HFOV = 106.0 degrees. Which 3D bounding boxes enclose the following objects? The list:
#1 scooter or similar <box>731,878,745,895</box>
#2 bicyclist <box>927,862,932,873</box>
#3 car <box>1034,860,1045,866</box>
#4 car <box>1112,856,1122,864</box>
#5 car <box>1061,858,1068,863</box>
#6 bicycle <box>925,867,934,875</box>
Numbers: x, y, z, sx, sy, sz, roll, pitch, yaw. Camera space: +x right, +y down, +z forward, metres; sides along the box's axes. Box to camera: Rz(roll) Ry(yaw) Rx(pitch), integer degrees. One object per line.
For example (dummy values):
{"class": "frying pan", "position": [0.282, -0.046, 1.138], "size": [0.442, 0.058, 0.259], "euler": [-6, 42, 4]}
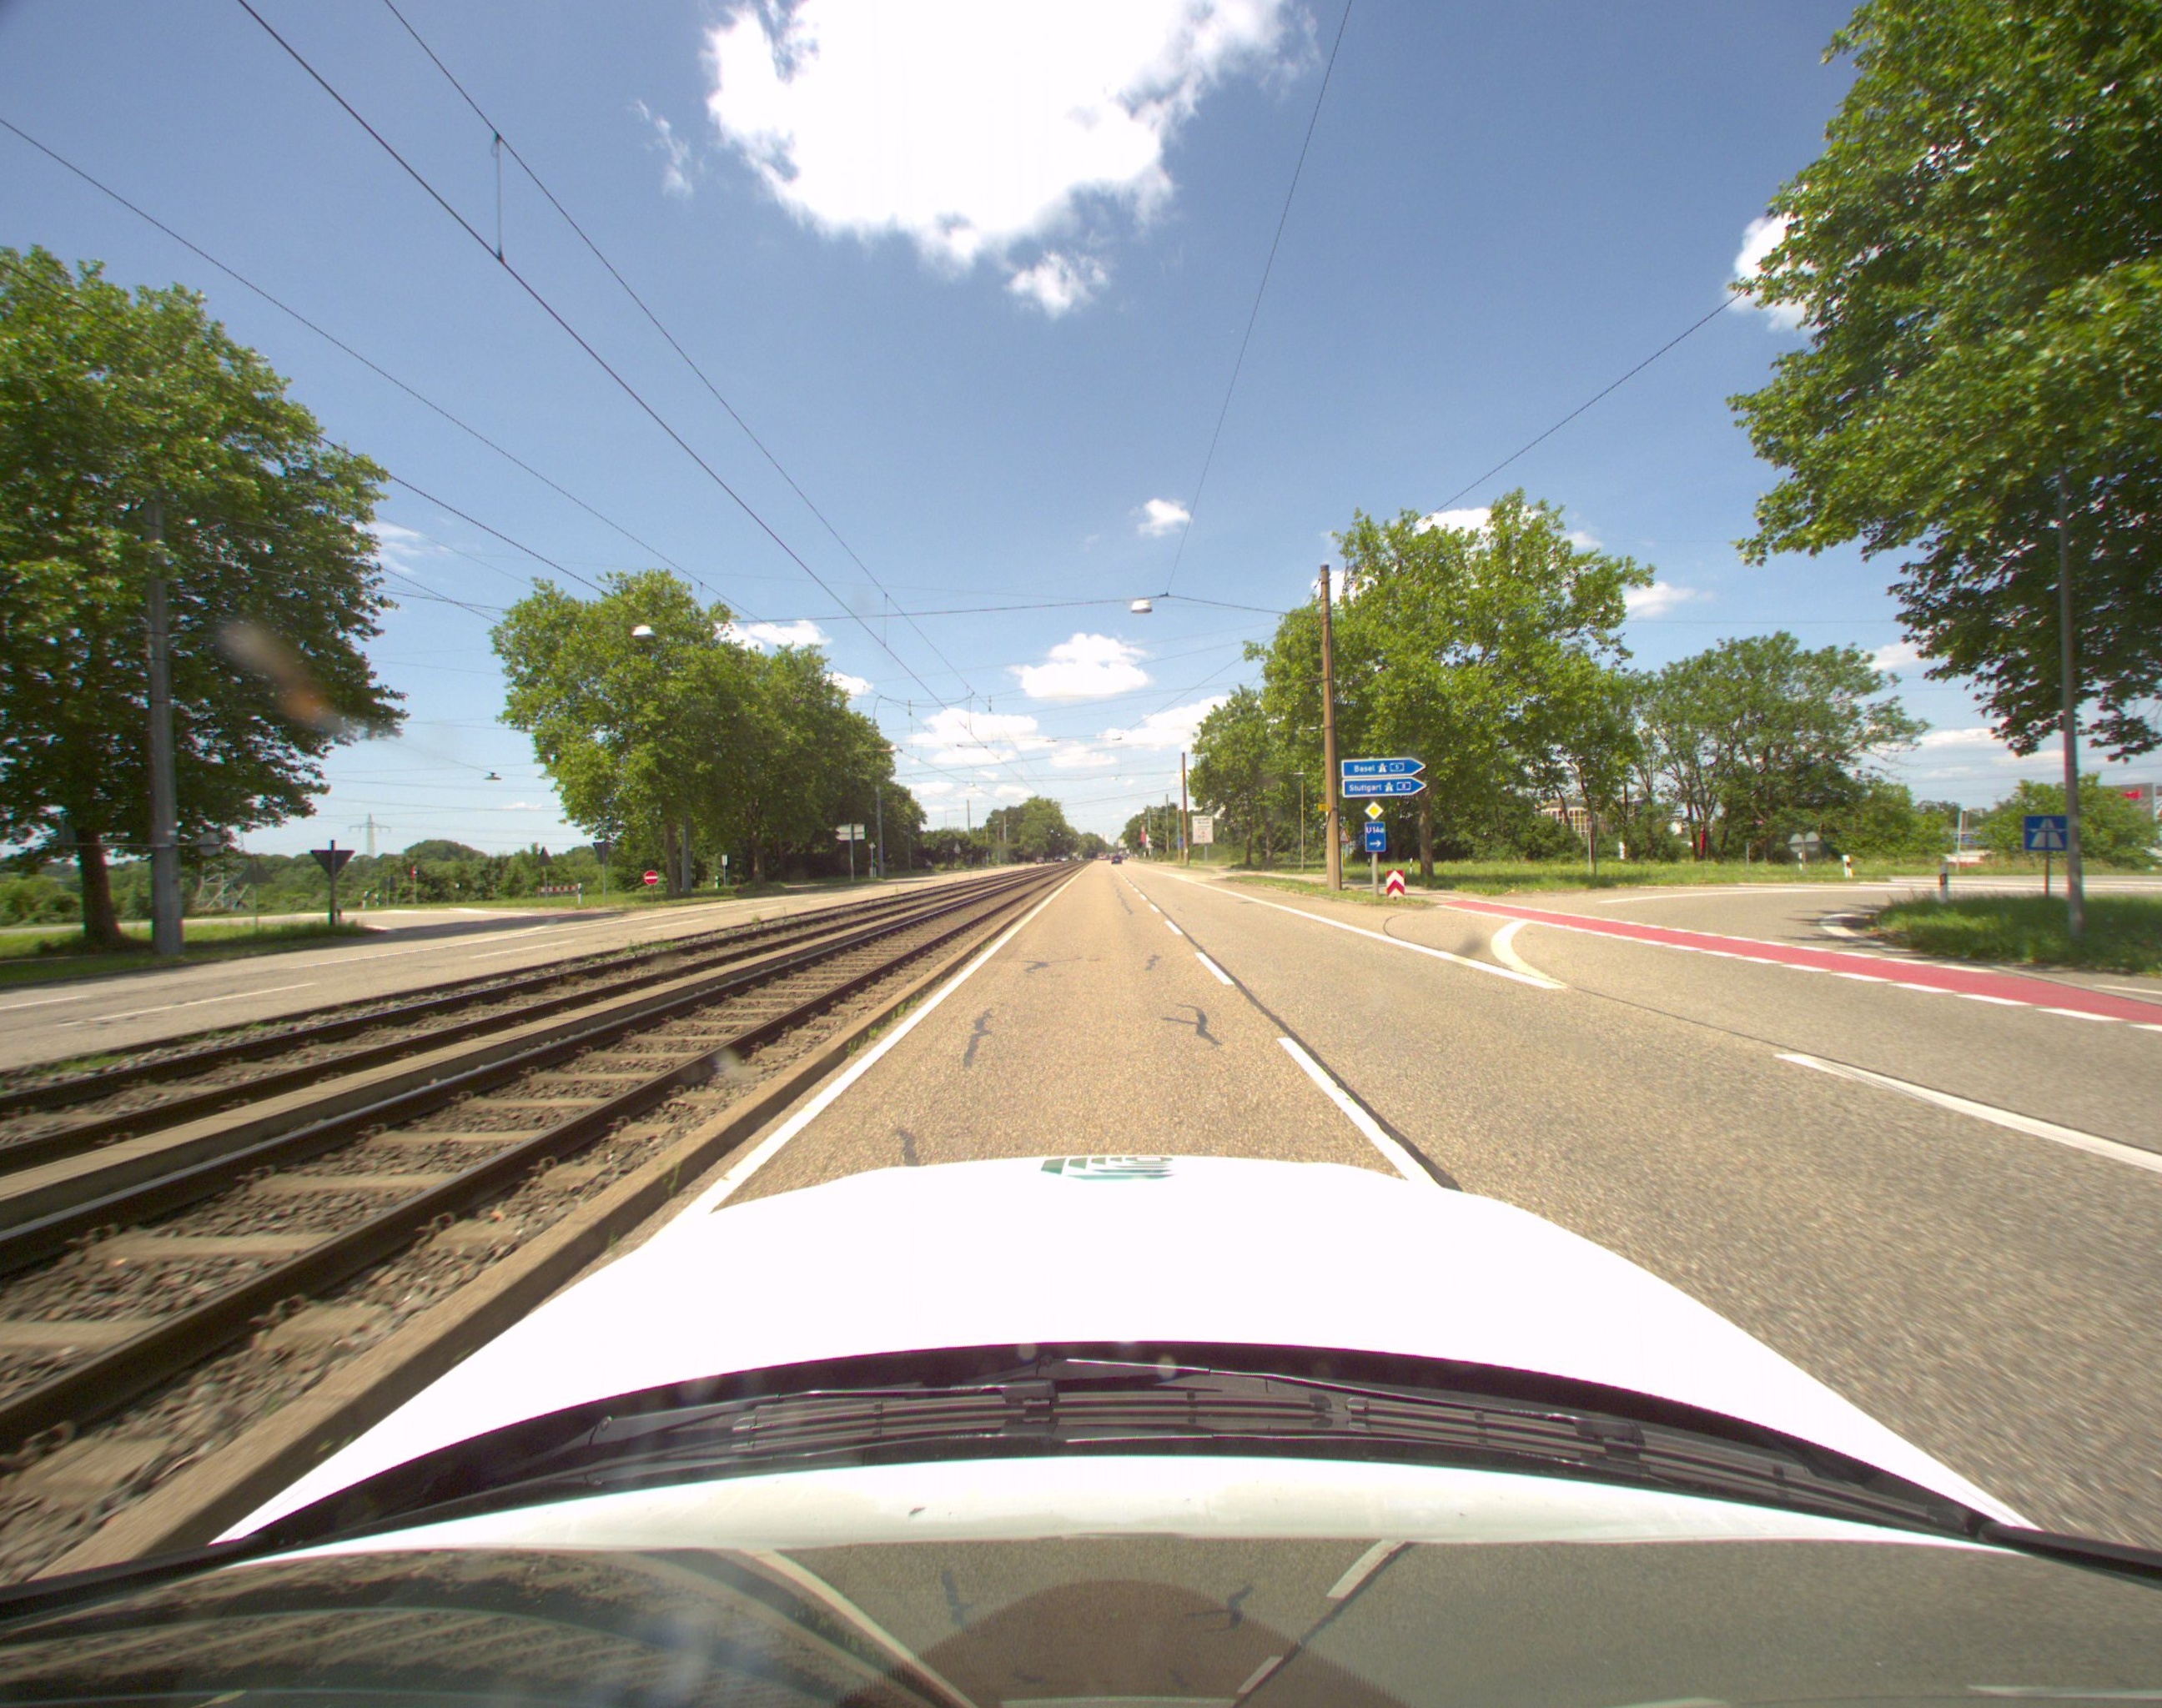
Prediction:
{"class": "scooter or similar", "position": [-21.130, 2.014, 50.244], "size": [0.297, 1.022, 0.999], "euler": [1, 0, 9]}
{"class": "bicyclist", "position": [-17.550, 1.598, 94.410], "size": [0.452, 1.272, 0.398], "euler": [-2, 0, 3]}
{"class": "car", "position": [-9.241, 1.966, 181.248], "size": [1.868, 1.332, 3.919], "euler": [-3, 0, 2]}
{"class": "car", "position": [5.985, 1.020, 136.354], "size": [1.581, 1.343, 3.272], "euler": [-2, 0, 0]}
{"class": "car", "position": [-4.651, 1.810, 230.957], "size": [1.709, 1.428, 3.902], "euler": [-2, 0, 2]}
{"class": "bicycle", "position": [-17.562, 1.949, 94.482], "size": [0.513, 0.857, 1.933], "euler": [-2, 0, 4]}
